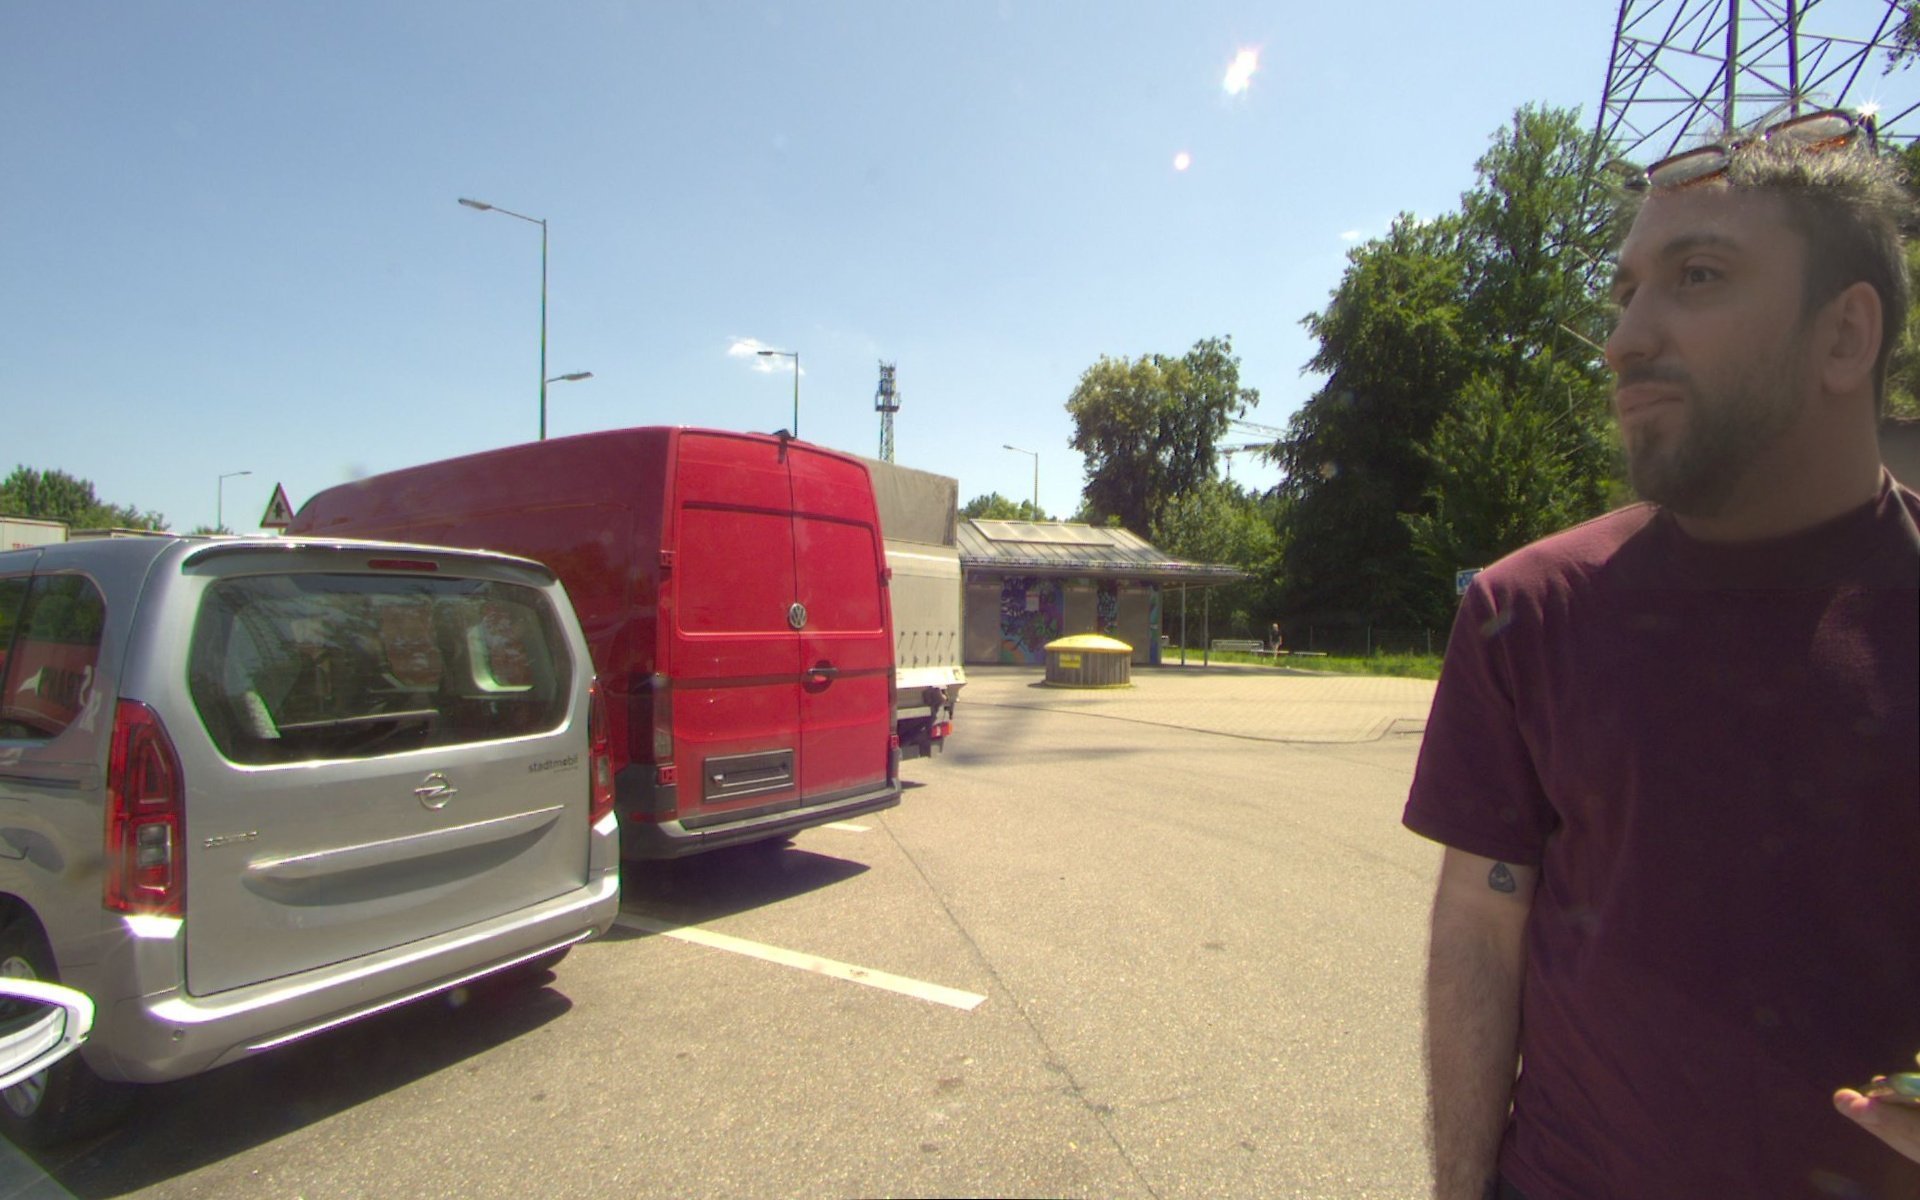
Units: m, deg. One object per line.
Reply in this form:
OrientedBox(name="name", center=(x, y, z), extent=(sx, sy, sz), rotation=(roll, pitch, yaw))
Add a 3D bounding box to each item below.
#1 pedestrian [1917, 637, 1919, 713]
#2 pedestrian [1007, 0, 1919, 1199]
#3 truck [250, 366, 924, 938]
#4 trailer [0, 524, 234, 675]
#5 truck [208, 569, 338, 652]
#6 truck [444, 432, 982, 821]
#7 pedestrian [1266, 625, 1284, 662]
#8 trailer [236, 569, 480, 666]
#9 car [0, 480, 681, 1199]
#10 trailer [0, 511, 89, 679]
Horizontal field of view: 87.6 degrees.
OrientedBox(name="pedestrian", center=(17.259, 1.321, 17.471), extent=(0.690, 1.352, 0.561), rotation=(-1, -1, 33))
OrientedBox(name="pedestrian", center=(0.619, 0.482, 0.817), extent=(0.849, 1.857, 0.860), rotation=(-1, -1, 33))
OrientedBox(name="truck", center=(-2.887, 0.334, 7.041), extent=(5.238, 2.655, 1.972), rotation=(-2, -2, 38))
OrientedBox(name="trailer", center=(-27.951, -0.110, 31.780), extent=(14.184, 4.040, 2.808), rotation=(2, -2, 33))
OrientedBox(name="truck", center=(-32.092, 0.456, 46.752), extent=(5.813, 3.566, 2.799), rotation=(2, -2, 33))
OrientedBox(name="truck", center=(-2.736, 0.302, 10.280), extent=(5.581, 2.949, 2.449), rotation=(-2, -2, 37))
OrientedBox(name="pedestrian", center=(13.956, 1.923, 44.366), extent=(0.724, 1.658, 0.791), rotation=(-1, -1, 20))
OrientedBox(name="trailer", center=(-26.098, 0.637, 42.895), extent=(14.184, 3.552, 2.808), rotation=(2, -2, 33))
OrientedBox(name="car", center=(-3.380, 0.684, 4.241), extent=(4.113, 1.887, 1.868), rotation=(1, -2, 31))
OrientedBox(name="trailer", center=(-29.015, -0.268, 28.134), extent=(14.184, 4.040, 2.808), rotation=(2, -2, 33))
